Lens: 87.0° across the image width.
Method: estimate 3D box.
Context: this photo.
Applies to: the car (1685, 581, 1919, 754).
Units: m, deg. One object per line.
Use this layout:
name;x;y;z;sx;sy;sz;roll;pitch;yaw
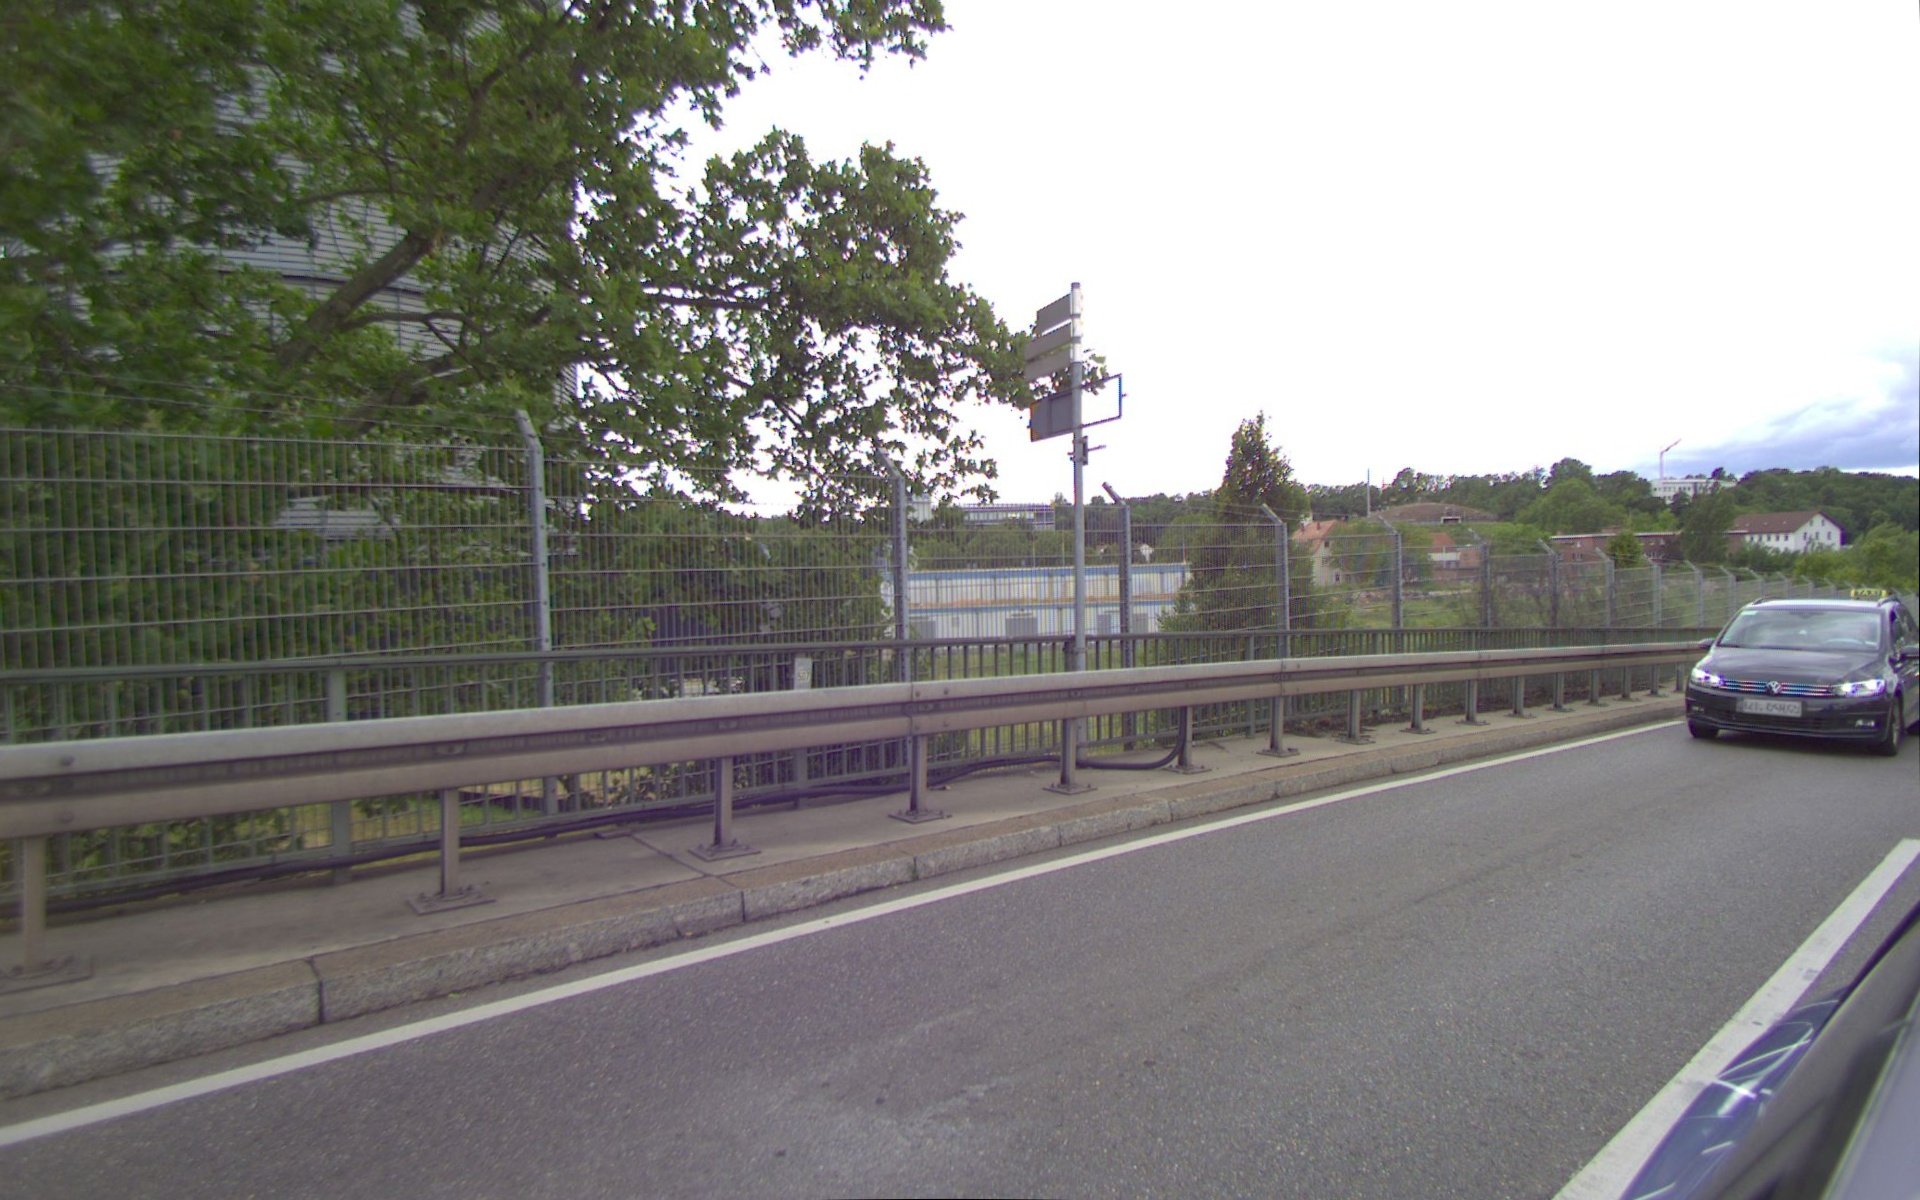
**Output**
car;10.190;0.677;11.858;4.076;1.674;1.800;1;-1;-40
